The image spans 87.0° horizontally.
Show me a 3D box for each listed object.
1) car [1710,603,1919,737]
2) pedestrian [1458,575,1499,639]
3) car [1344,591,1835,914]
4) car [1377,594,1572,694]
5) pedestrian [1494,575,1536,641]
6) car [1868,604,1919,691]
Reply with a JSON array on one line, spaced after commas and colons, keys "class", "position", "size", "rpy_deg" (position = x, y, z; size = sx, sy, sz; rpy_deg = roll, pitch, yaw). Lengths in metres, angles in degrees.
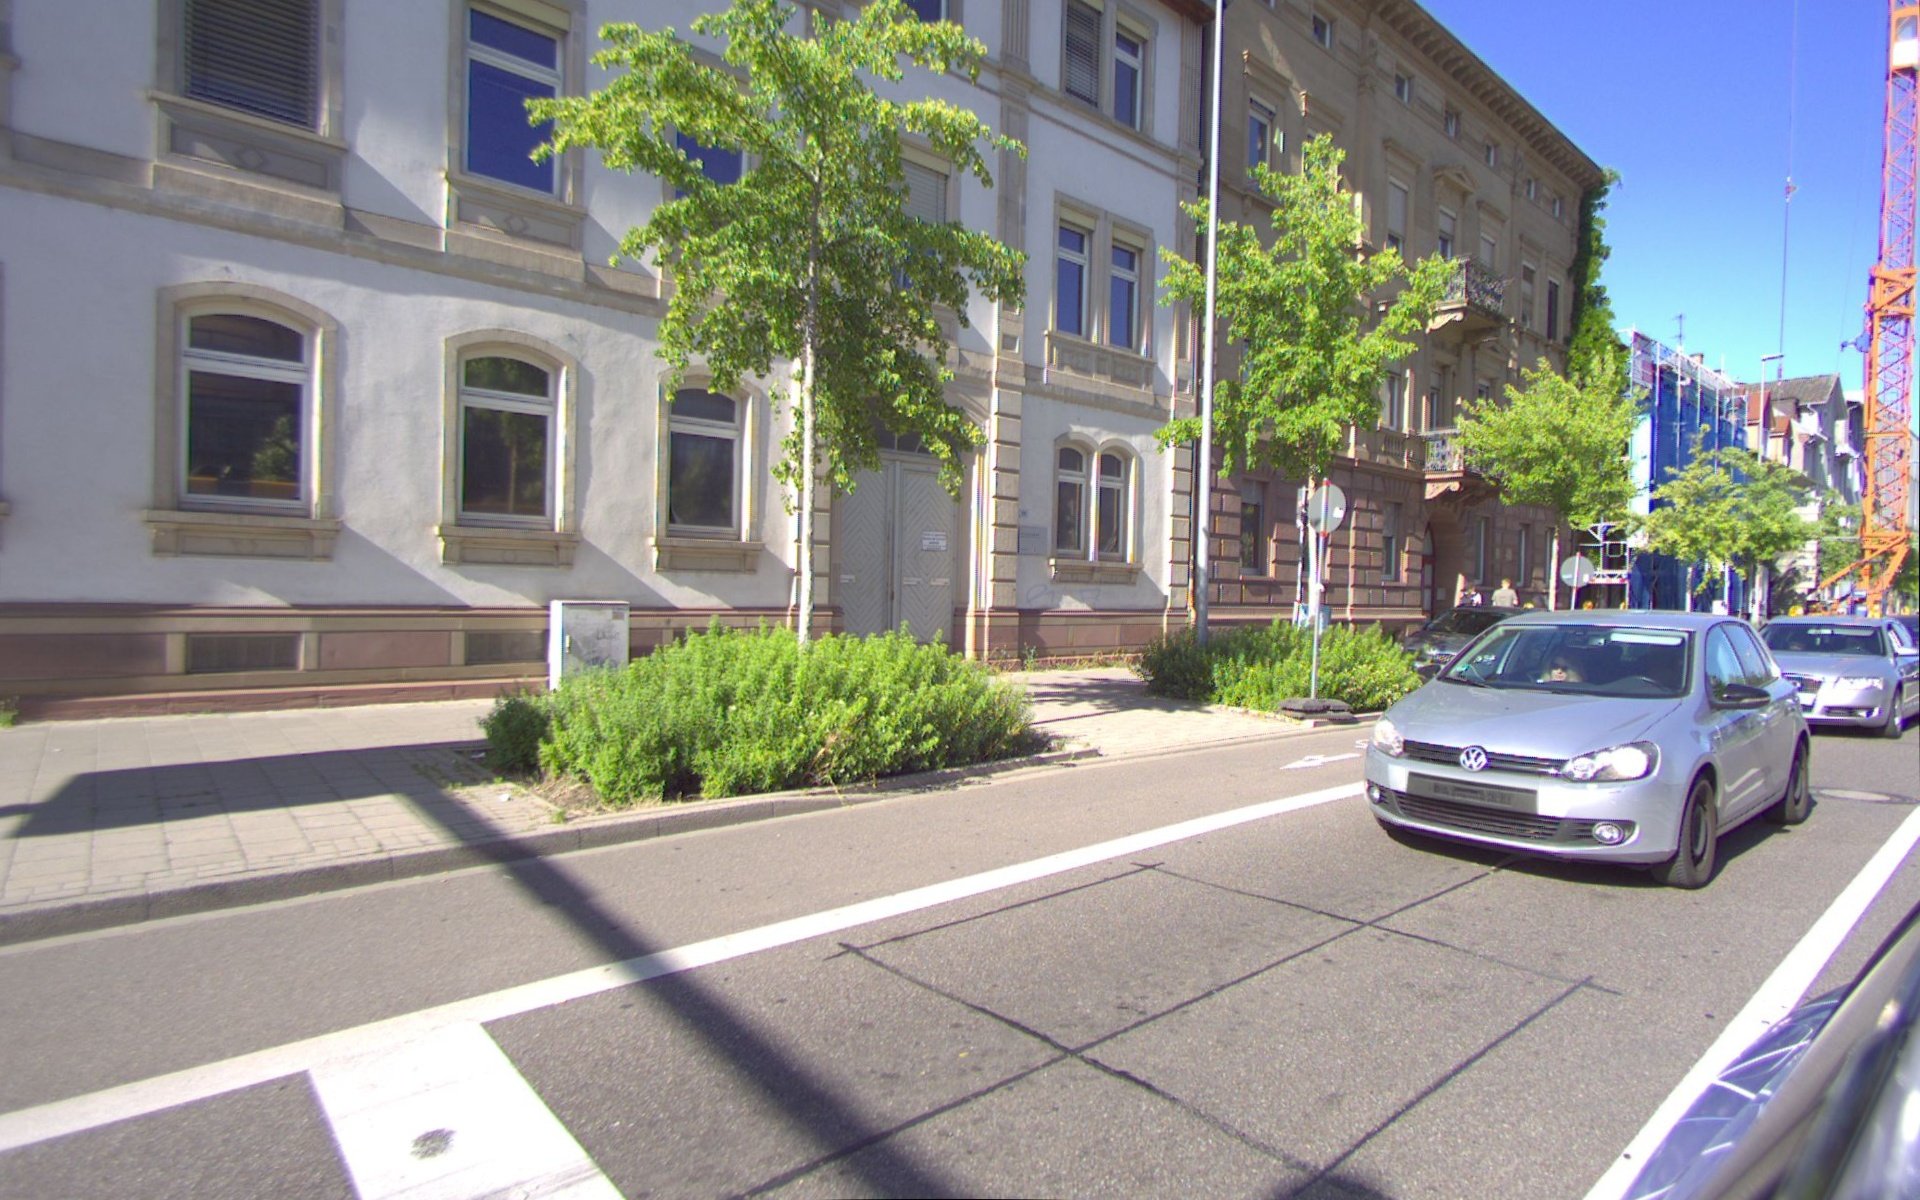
[{"class": "car", "position": [11.325, 0.776, 13.089], "size": [3.931, 1.442, 1.837], "rpy_deg": [0, 0, -41]}, {"class": "pedestrian", "position": [13.058, 0.179, 25.484], "size": [0.891, 1.581, 0.668], "rpy_deg": [0, 0, -43]}, {"class": "car", "position": [4.306, 0.706, 6.660], "size": [3.931, 1.493, 1.701], "rpy_deg": [0, 0, -41]}, {"class": "car", "position": [8.823, 0.665, 17.228], "size": [3.931, 1.461, 1.609], "rpy_deg": [0, 2, -41]}, {"class": "pedestrian", "position": [13.699, 0.187, 24.976], "size": [0.891, 1.581, 0.668], "rpy_deg": [0, 0, -43]}, {"class": "car", "position": [17.650, 0.806, 18.071], "size": [3.931, 1.442, 1.701], "rpy_deg": [0, 0, -41]}]
